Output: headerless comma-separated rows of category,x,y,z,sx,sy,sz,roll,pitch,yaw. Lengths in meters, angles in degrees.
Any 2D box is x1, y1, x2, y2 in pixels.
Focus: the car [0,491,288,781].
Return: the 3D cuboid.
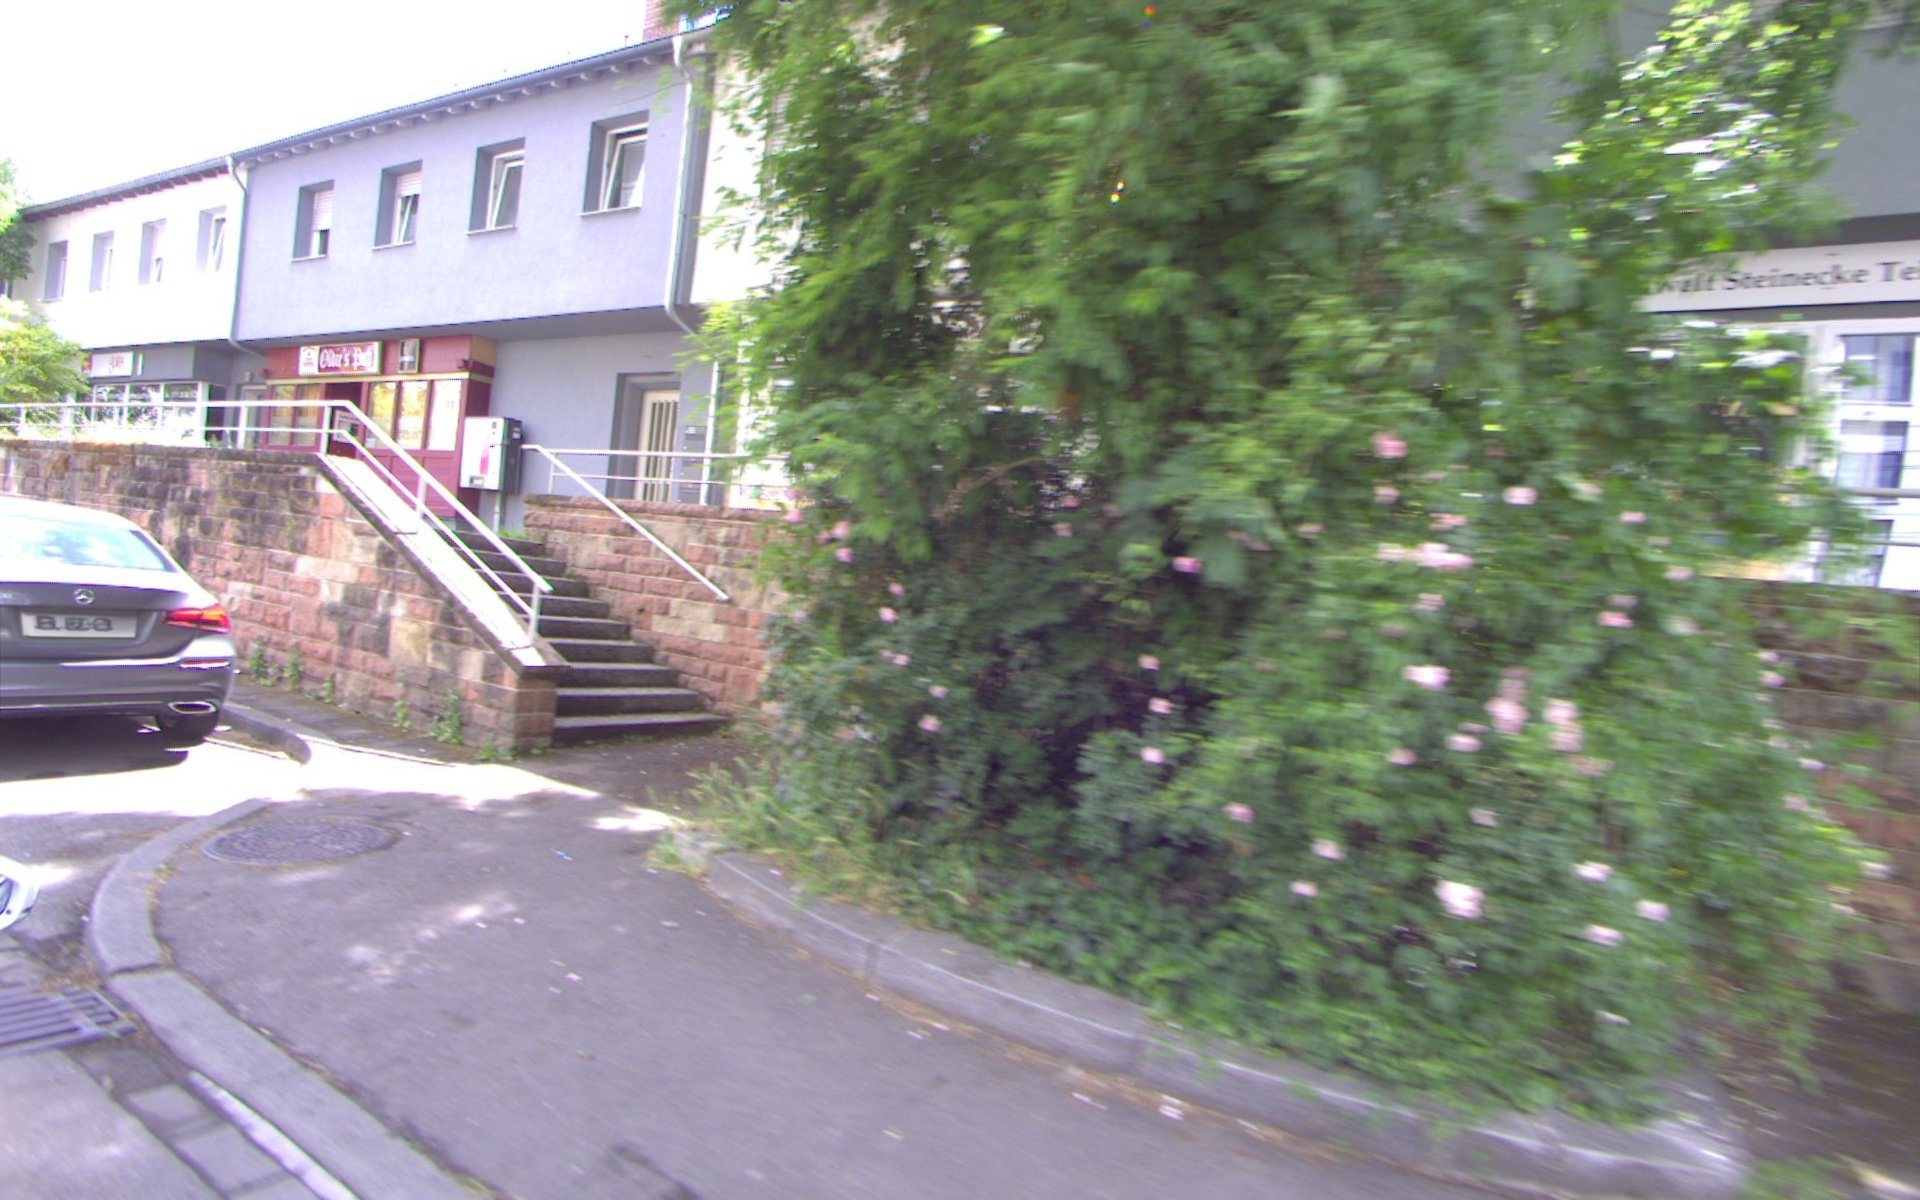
car,-6.456,0.009,6.588,4.342,1.423,1.837,7,1,34
